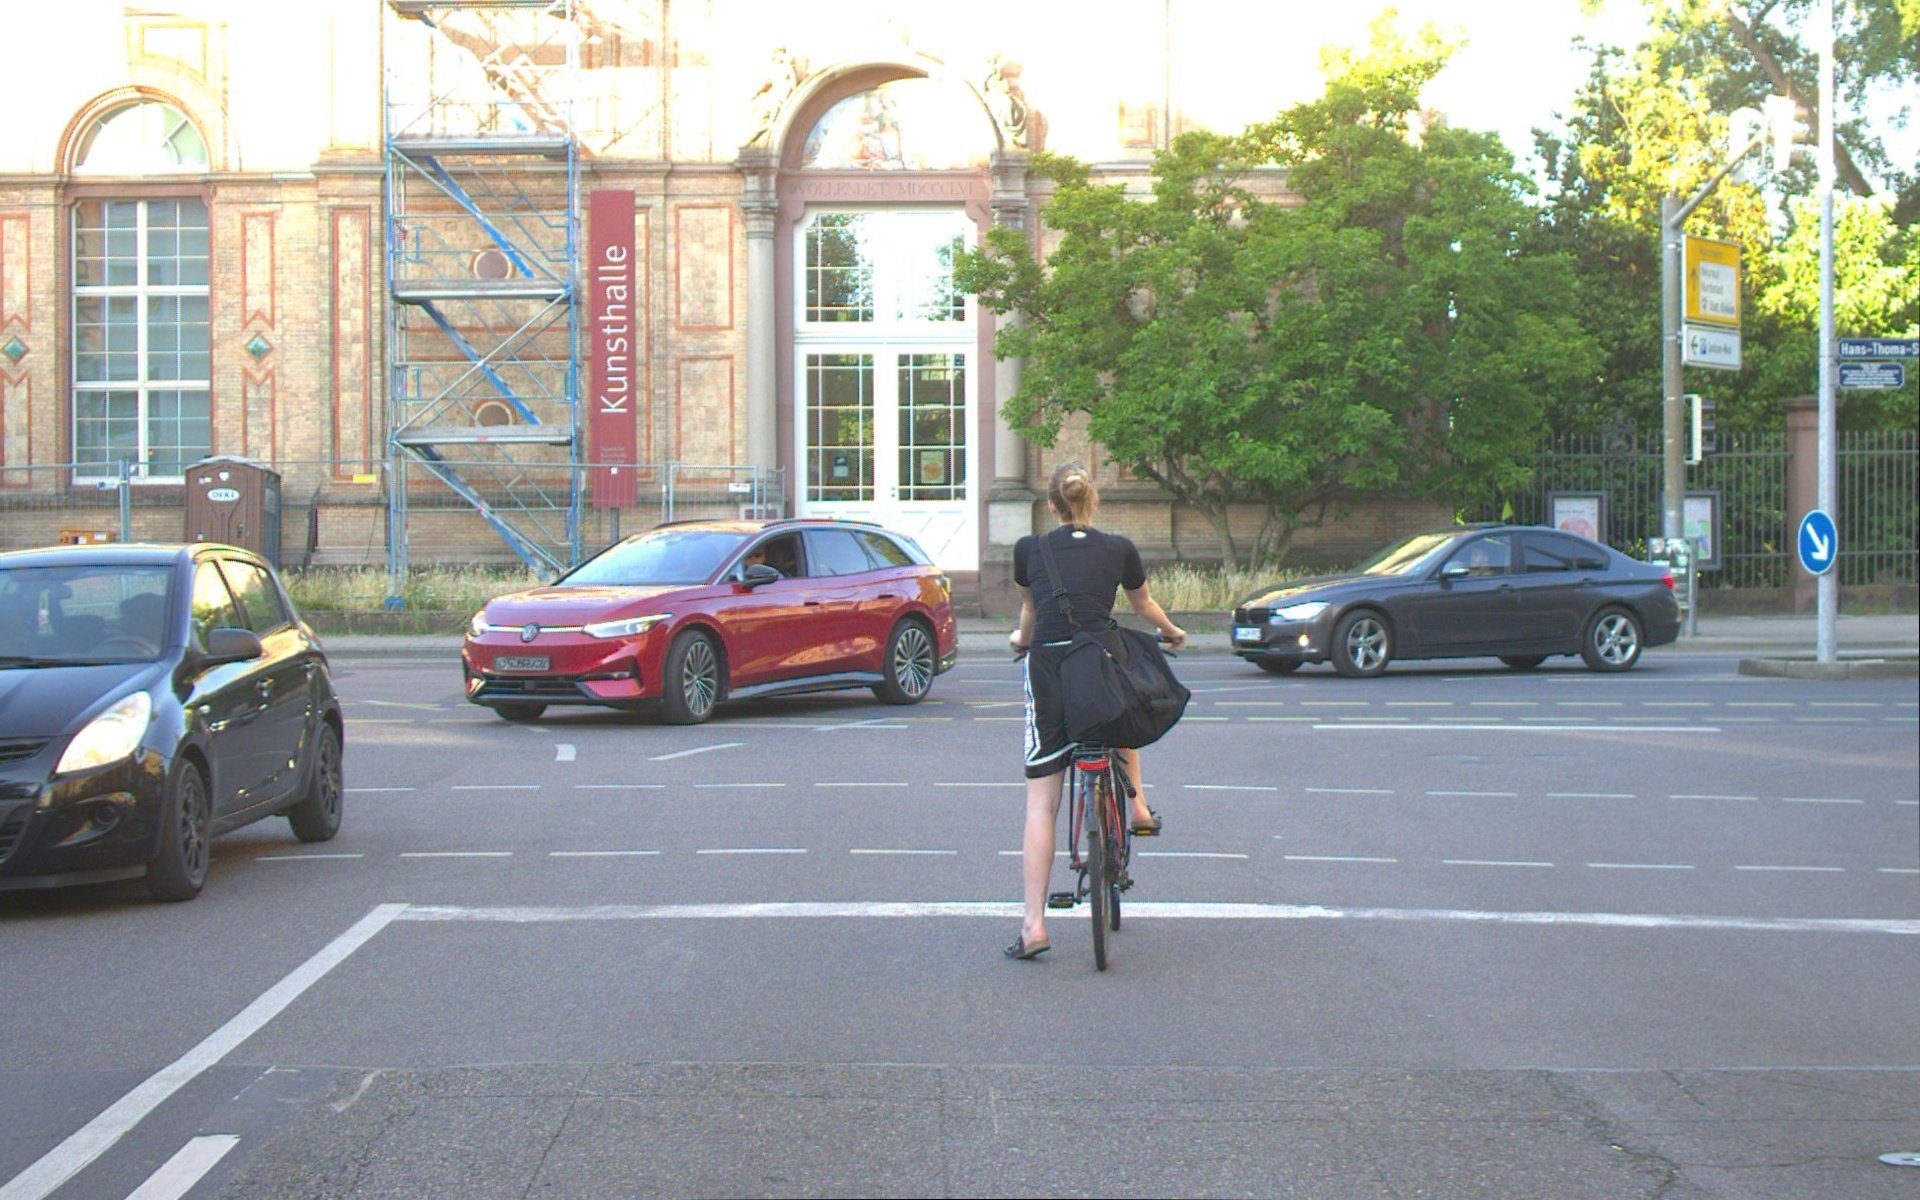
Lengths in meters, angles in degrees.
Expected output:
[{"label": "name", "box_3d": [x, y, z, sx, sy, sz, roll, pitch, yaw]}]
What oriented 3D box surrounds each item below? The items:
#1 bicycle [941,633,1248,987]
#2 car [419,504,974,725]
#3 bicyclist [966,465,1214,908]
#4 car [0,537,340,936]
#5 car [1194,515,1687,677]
[{"label": "bicycle", "box_3d": [0.524, 0.699, 12.351, 0.712, 1.152, 2.067, 0, 0, 14]}, {"label": "car", "box_3d": [-1.975, 0.050, 27.419, 1.834, 1.540, 4.839, 0, 2, 33]}, {"label": "bicyclist", "box_3d": [0.468, 0.294, 12.113, 0.716, 1.497, 0.850, 0, 0, 14]}, {"label": "car", "box_3d": [-3.962, 0.504, 15.245, 1.658, 1.466, 3.854, -1, 2, 1]}, {"label": "car", "box_3d": [4.671, -0.065, 33.525, 4.407, 1.454, 1.788, -1, 1, -18]}]
